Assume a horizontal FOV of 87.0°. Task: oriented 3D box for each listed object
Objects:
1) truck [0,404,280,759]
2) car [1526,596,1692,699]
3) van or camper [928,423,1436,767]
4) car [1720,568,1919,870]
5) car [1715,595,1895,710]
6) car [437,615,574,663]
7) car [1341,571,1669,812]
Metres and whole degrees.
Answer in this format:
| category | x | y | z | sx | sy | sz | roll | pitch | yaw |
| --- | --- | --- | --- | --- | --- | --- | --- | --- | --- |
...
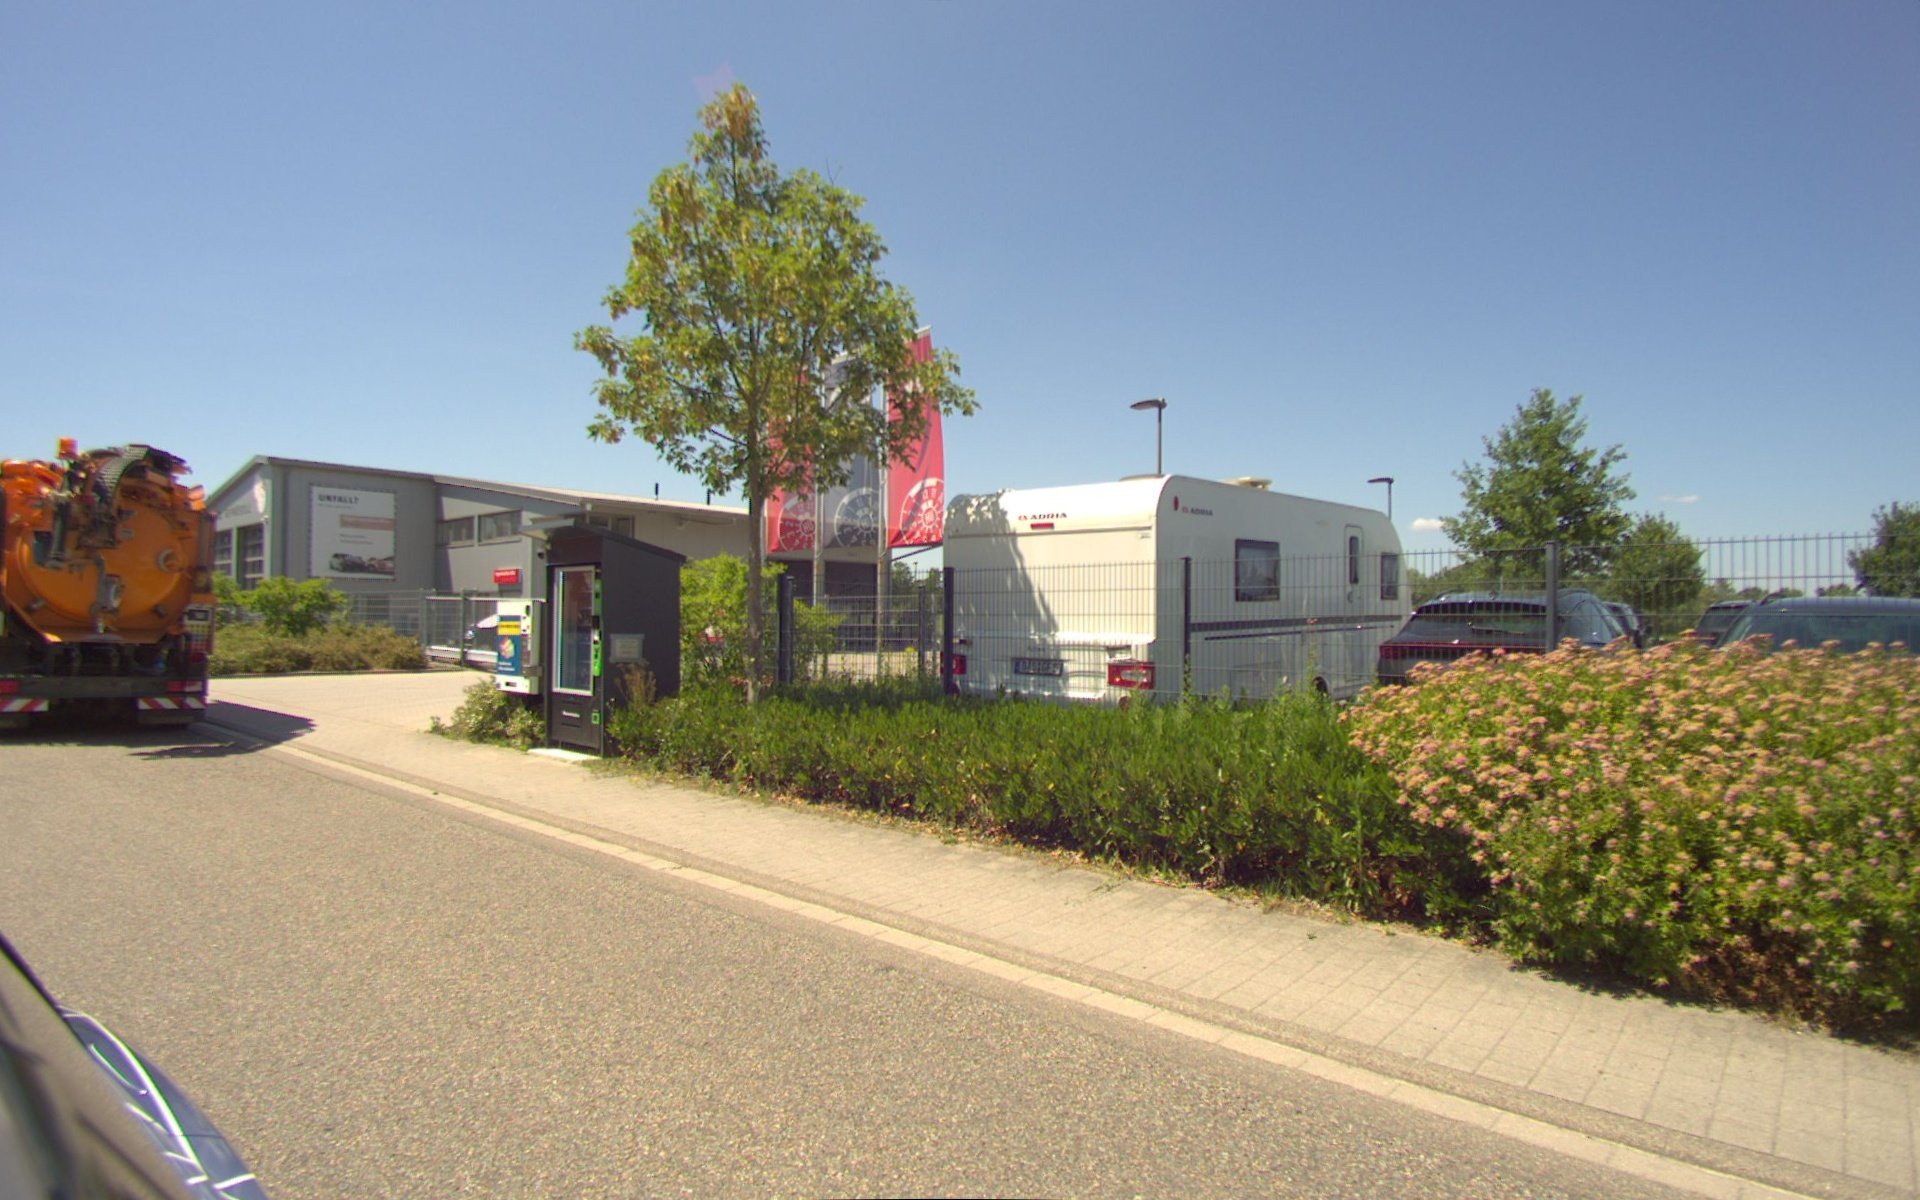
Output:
| category | x | y | z | sx | sy | sz | roll | pitch | yaw |
| --- | --- | --- | --- | --- | --- | --- | --- | --- | --- |
| truck | -12.926 | -0.091 | 14.471 | 10.495 | 3.572 | 2.572 | -1 | -3 | 41 |
| car | 11.675 | 0.785 | 18.103 | 1.999 | 1.608 | 3.946 | -1 | -1 | 40 |
| van or camper | 2.883 | 0.044 | 11.301 | 2.575 | 2.704 | 6.703 | -1 | -2 | 42 |
| car | 6.712 | 0.693 | 7.417 | 1.774 | 1.678 | 4.467 | -1 | -1 | 37 |
| car | 13.541 | 0.765 | 16.287 | 1.999 | 1.608 | 3.946 | -1 | -1 | 40 |
| car | -14.517 | 1.231 | 32.482 | 1.581 | 1.453 | 3.701 | -1 | -2 | 39 |
| car | 5.206 | 0.675 | 9.332 | 1.776 | 1.678 | 4.463 | -1 | -1 | 40 |
